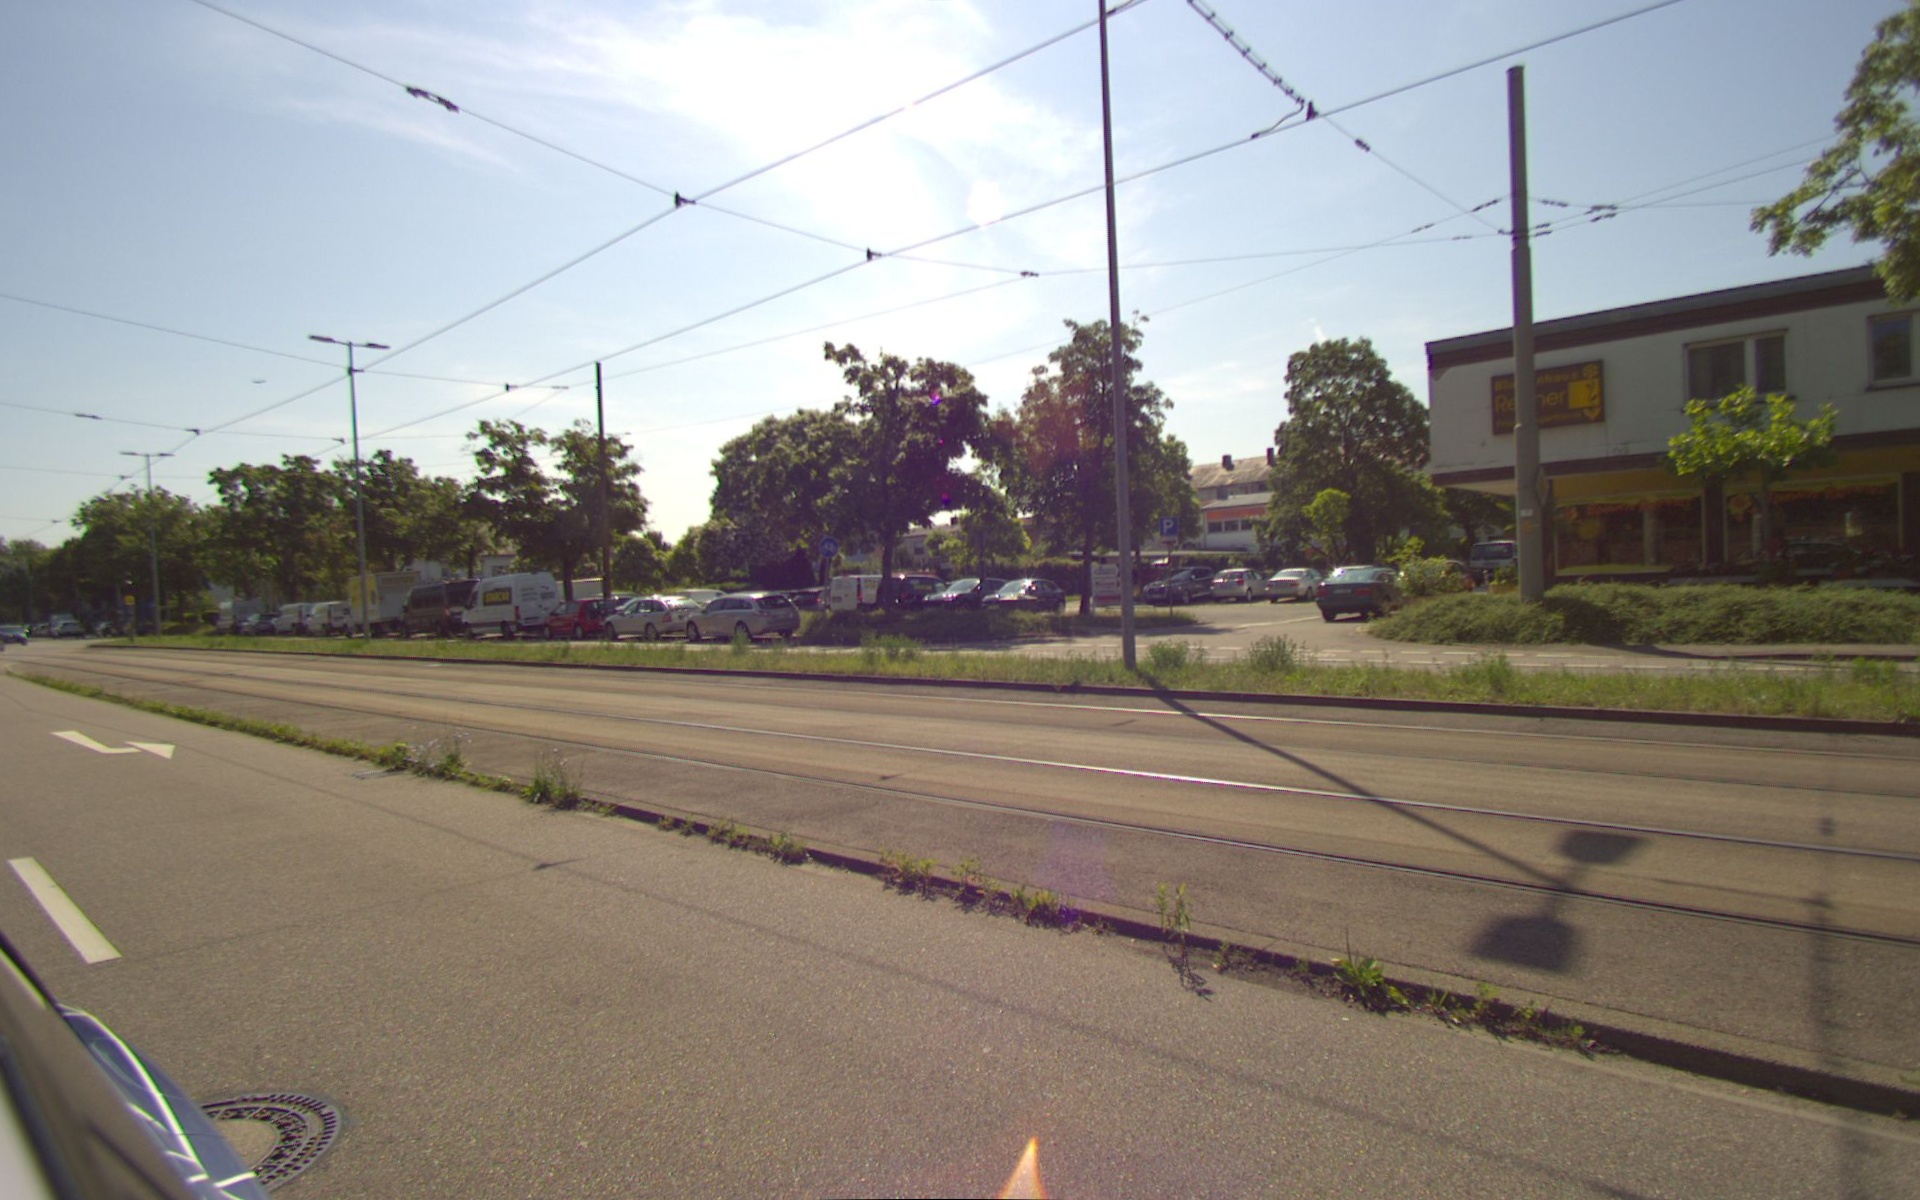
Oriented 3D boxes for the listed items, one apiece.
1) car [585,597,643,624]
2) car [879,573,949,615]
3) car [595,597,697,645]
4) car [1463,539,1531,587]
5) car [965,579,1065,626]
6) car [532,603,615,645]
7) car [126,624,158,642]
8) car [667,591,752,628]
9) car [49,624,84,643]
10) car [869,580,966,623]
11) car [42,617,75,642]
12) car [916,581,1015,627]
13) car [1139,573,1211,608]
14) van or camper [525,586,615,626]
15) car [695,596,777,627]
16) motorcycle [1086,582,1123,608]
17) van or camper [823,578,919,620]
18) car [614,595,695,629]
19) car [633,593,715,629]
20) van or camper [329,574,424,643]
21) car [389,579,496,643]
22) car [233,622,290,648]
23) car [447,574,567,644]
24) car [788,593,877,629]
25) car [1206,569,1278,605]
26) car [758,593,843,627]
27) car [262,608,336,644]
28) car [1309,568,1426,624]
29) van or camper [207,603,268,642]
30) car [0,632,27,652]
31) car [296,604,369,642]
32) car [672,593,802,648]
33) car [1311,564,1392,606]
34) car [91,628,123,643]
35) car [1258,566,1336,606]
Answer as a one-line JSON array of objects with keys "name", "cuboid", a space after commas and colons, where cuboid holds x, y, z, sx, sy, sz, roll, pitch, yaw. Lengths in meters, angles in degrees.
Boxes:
[{"name": "car", "cuboid": [-27.438, 0.798, 80.352, 1.783, 1.905, 3.950, -2, 0, 38]}, {"name": "car", "cuboid": [-2.674, -0.368, 59.035, 1.908, 2.216, 3.950, -2, 0, 38]}, {"name": "car", "cuboid": [-11.018, 0.755, 35.344, 4.349, 1.501, 1.278, -2, 2, 42]}, {"name": "car", "cuboid": [26.696, -1.819, 50.195, 2.098, 2.190, 4.882, -2, 1, 38]}, {"name": "car", "cuboid": [2.075, 0.078, 37.430, 1.662, 1.574, 3.948, -2, 0, 39]}, {"name": "car", "cuboid": [-14.803, 0.922, 38.655, 3.673, 1.501, 1.279, -2, 1, 40]}, {"name": "car", "cuboid": [-73.348, 2.947, 90.706, 4.082, 1.461, 1.598, -2, 0, 43]}, {"name": "car", "cuboid": [-12.890, 0.485, 52.233, 1.662, 1.707, 3.946, -2, 1, 41]}, {"name": "car", "cuboid": [-79.979, 2.999, 90.607, 4.661, 1.609, 2.020, -2, -1, 44]}, {"name": "car", "cuboid": [-1.672, 0.026, 40.922, 1.662, 1.574, 3.948, -2, 0, 39]}, {"name": "car", "cuboid": [-109.334, 3.567, 122.709, 6.084, 2.670, 1.991, -2, 4, 42]}, {"name": "car", "cuboid": [0.270, 0.133, 39.029, 1.662, 1.574, 3.948, -2, 0, 39]}, {"name": "car", "cuboid": [10.007, -0.455, 46.931, 1.674, 1.435, 3.934, -2, 1, 38]}, {"name": "van or camper", "cuboid": [-33.972, 0.482, 88.309, 2.579, 3.269, 6.882, -2, 0, 39]}, {"name": "car", "cuboid": [-11.127, 0.560, 50.522, 1.487, 1.381, 3.950, -2, 0, 38]}, {"name": "motorcycle", "cuboid": [7.237, -0.250, 50.597, 0.734, 1.243, 2.104, -2, 0, 42]}, {"name": "van or camper", "cuboid": [-3.679, -0.067, 42.580, 1.873, 1.574, 3.952, -2, 0, 36]}, {"name": "car", "cuboid": [-16.673, 0.644, 55.322, 1.662, 1.707, 3.946, -2, 1, 41]}, {"name": "car", "cuboid": [-15.268, 0.579, 54.184, 1.662, 1.707, 3.946, -2, 1, 41]}, {"name": "van or camper", "cuboid": [-30.411, 0.500, 52.660, 6.771, 3.264, 2.173, -2, 2, 43]}, {"name": "car", "cuboid": [-24.020, 0.533, 46.872, 6.076, 2.688, 2.174, -2, 2, 41]}, {"name": "car", "cuboid": [-46.198, 2.321, 66.872, 4.883, 1.465, 1.912, -2, 2, 41]}, {"name": "car", "cuboid": [-19.088, 0.416, 42.489, 5.977, 2.650, 2.173, -2, 2, 42]}, {"name": "car", "cuboid": [-5.499, 0.448, 44.076, 1.487, 1.381, 3.950, -2, 0, 37]}, {"name": "car", "cuboid": [12.793, -0.611, 45.849, 1.674, 1.435, 3.933, -2, 1, 39]}, {"name": "car", "cuboid": [-7.327, 0.429, 46.782, 1.487, 1.381, 3.950, -2, 0, 38]}, {"name": "car", "cuboid": [-41.254, 1.646, 63.095, 5.177, 1.955, 2.176, -2, 2, 38]}, {"name": "car", "cuboid": [11.382, -0.146, 28.109, 1.697, 1.354, 4.104, -2, 1, 42]}, {"name": "van or camper", "cuboid": [-50.999, 1.624, 71.369, 6.147, 2.533, 2.233, -2, 0, 43]}, {"name": "car", "cuboid": [-66.779, 2.942, 70.741, 3.999, 1.342, 1.908, -2, 1, 42]}, {"name": "car", "cuboid": [-36.342, 1.341, 58.549, 5.184, 1.955, 2.173, -2, 3, 43]}, {"name": "car", "cuboid": [-7.086, 0.655, 31.854, 4.618, 1.501, 1.587, -2, 3, 43]}, {"name": "car", "cuboid": [16.159, -0.644, 41.629, 1.909, 1.545, 3.947, -2, 1, 40]}, {"name": "car", "cuboid": [-86.130, 3.585, 102.159, 4.453, 1.446, 1.658, -2, 0, 40]}, {"name": "car", "cuboid": [14.598, -0.630, 43.728, 1.908, 1.545, 3.949, -2, 1, 38]}]
